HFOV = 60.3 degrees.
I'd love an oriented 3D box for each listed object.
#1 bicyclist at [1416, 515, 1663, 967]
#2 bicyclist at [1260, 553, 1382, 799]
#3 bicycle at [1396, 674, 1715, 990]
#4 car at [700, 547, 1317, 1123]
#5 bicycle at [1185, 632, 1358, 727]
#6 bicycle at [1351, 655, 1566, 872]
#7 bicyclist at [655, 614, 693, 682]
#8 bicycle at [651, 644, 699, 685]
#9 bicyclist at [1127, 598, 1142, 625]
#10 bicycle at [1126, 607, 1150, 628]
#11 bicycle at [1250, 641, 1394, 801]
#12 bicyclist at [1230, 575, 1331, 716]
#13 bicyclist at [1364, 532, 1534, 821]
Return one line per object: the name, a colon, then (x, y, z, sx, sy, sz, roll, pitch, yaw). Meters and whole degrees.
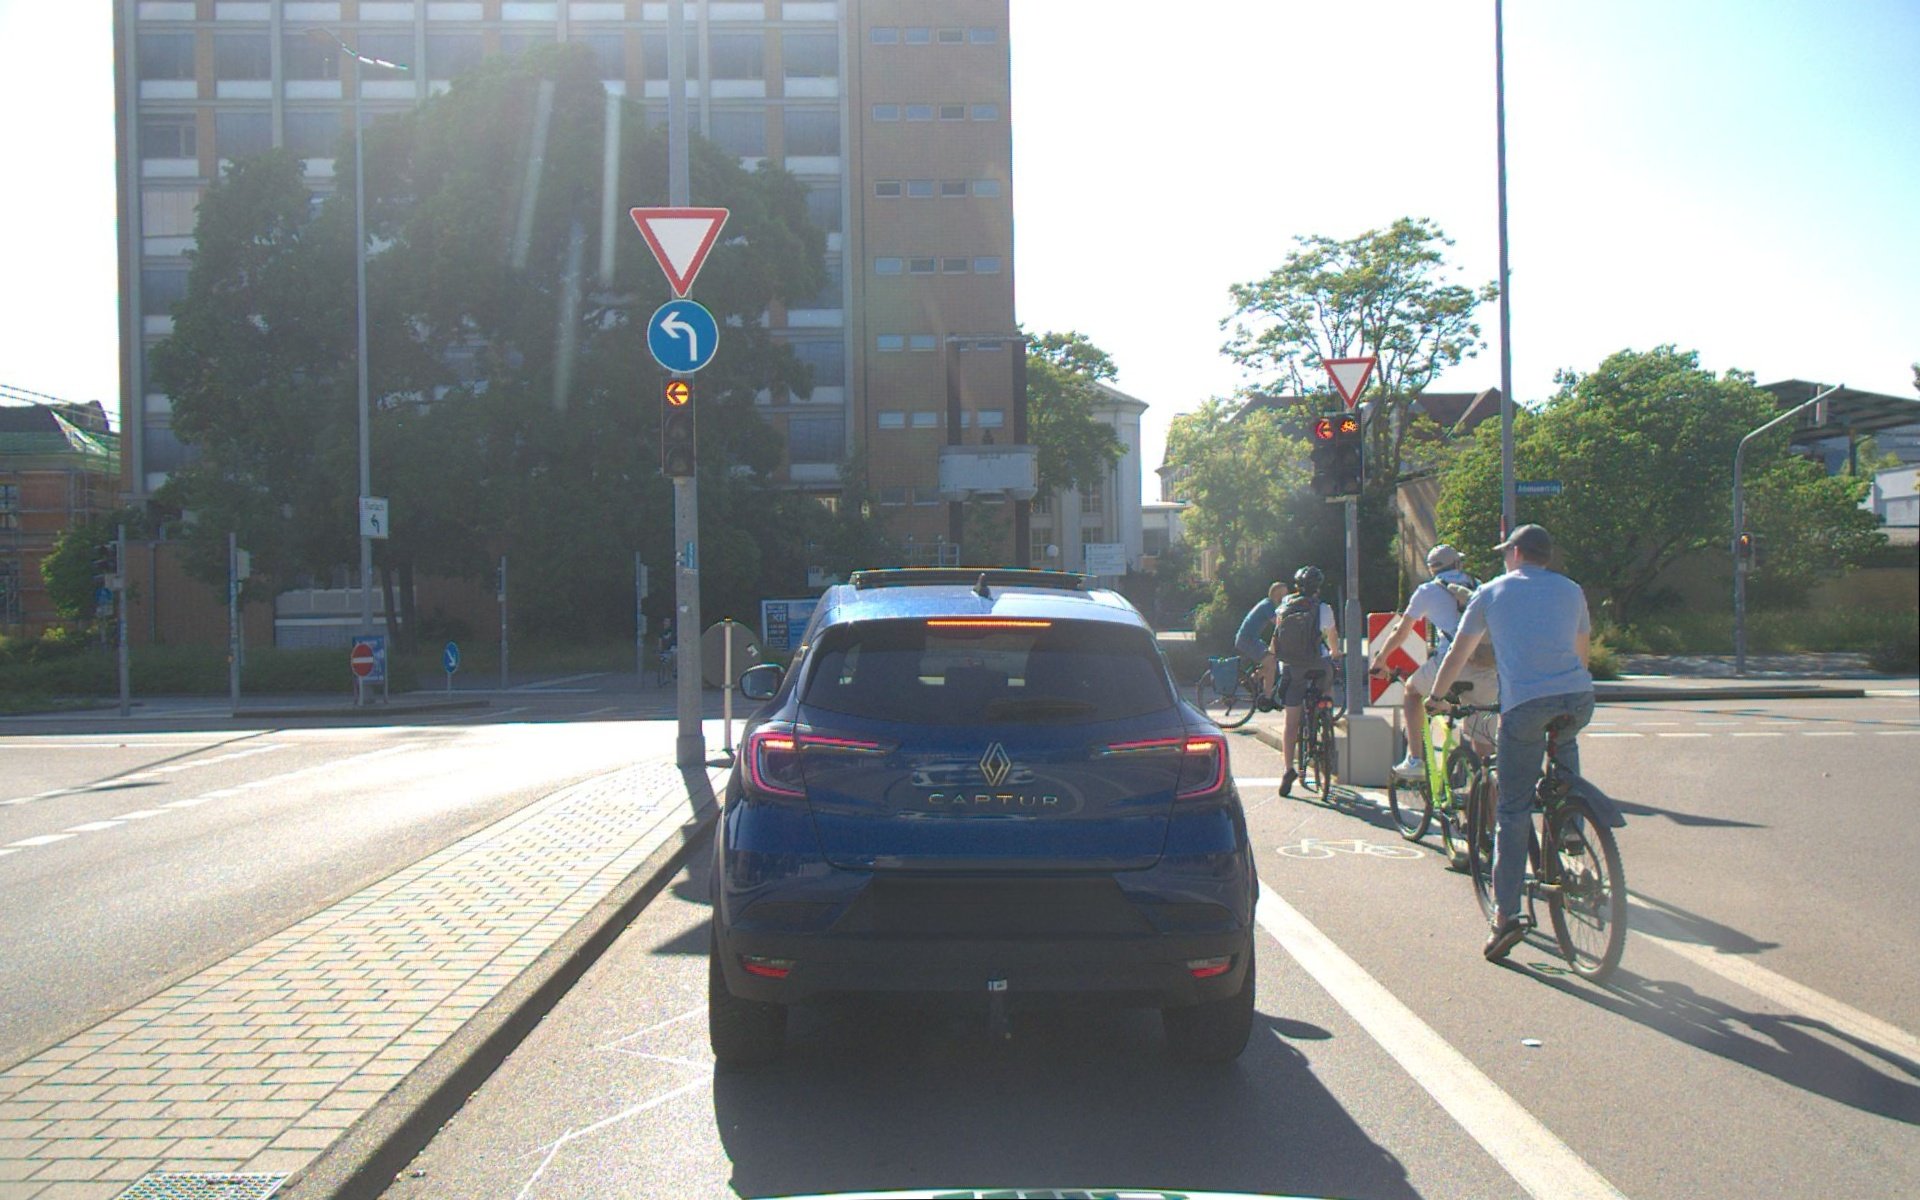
bicyclist: (2.501, 0.569, 7.256, 0.669, 1.822, 1.142, 0, 0, -1)
bicyclist: (2.778, 0.561, 12.817, 0.685, 1.822, 1.142, 0, 0, -1)
bicycle: (2.504, 0.920, 7.211, 0.675, 1.108, 1.922, 0, 0, -1)
car: (0.057, 0.663, 6.646, 1.753, 1.613, 3.912, 0, 0, -3)
bicycle: (3.528, 0.898, 18.853, 1.858, 0.990, 0.650, -2, 0, 6)
bicycle: (2.906, 0.911, 9.852, 0.675, 1.108, 1.922, 0, 0, -1)
bicyclist: (-7.546, 1.255, 43.668, 0.739, 1.746, 0.999, -1, 0, 5)
bicycle: (-7.528, 1.698, 43.771, 0.739, 1.002, 2.095, -1, 0, 5)
bicyclist: (9.848, 0.660, 93.275, 0.680, 1.507, 0.717, -1, 0, 22)
bicycle: (10.117, 0.983, 93.959, 0.680, 1.160, 2.441, -1, 0, 22)
bicycle: (2.779, 0.896, 12.877, 0.675, 1.108, 1.922, 0, 0, -1)
bicyclist: (3.643, 0.509, 18.844, 1.029, 1.540, 0.642, -2, 0, 6)
bicyclist: (2.886, 0.429, 9.863, 0.664, 1.622, 1.142, 0, 0, -1)
